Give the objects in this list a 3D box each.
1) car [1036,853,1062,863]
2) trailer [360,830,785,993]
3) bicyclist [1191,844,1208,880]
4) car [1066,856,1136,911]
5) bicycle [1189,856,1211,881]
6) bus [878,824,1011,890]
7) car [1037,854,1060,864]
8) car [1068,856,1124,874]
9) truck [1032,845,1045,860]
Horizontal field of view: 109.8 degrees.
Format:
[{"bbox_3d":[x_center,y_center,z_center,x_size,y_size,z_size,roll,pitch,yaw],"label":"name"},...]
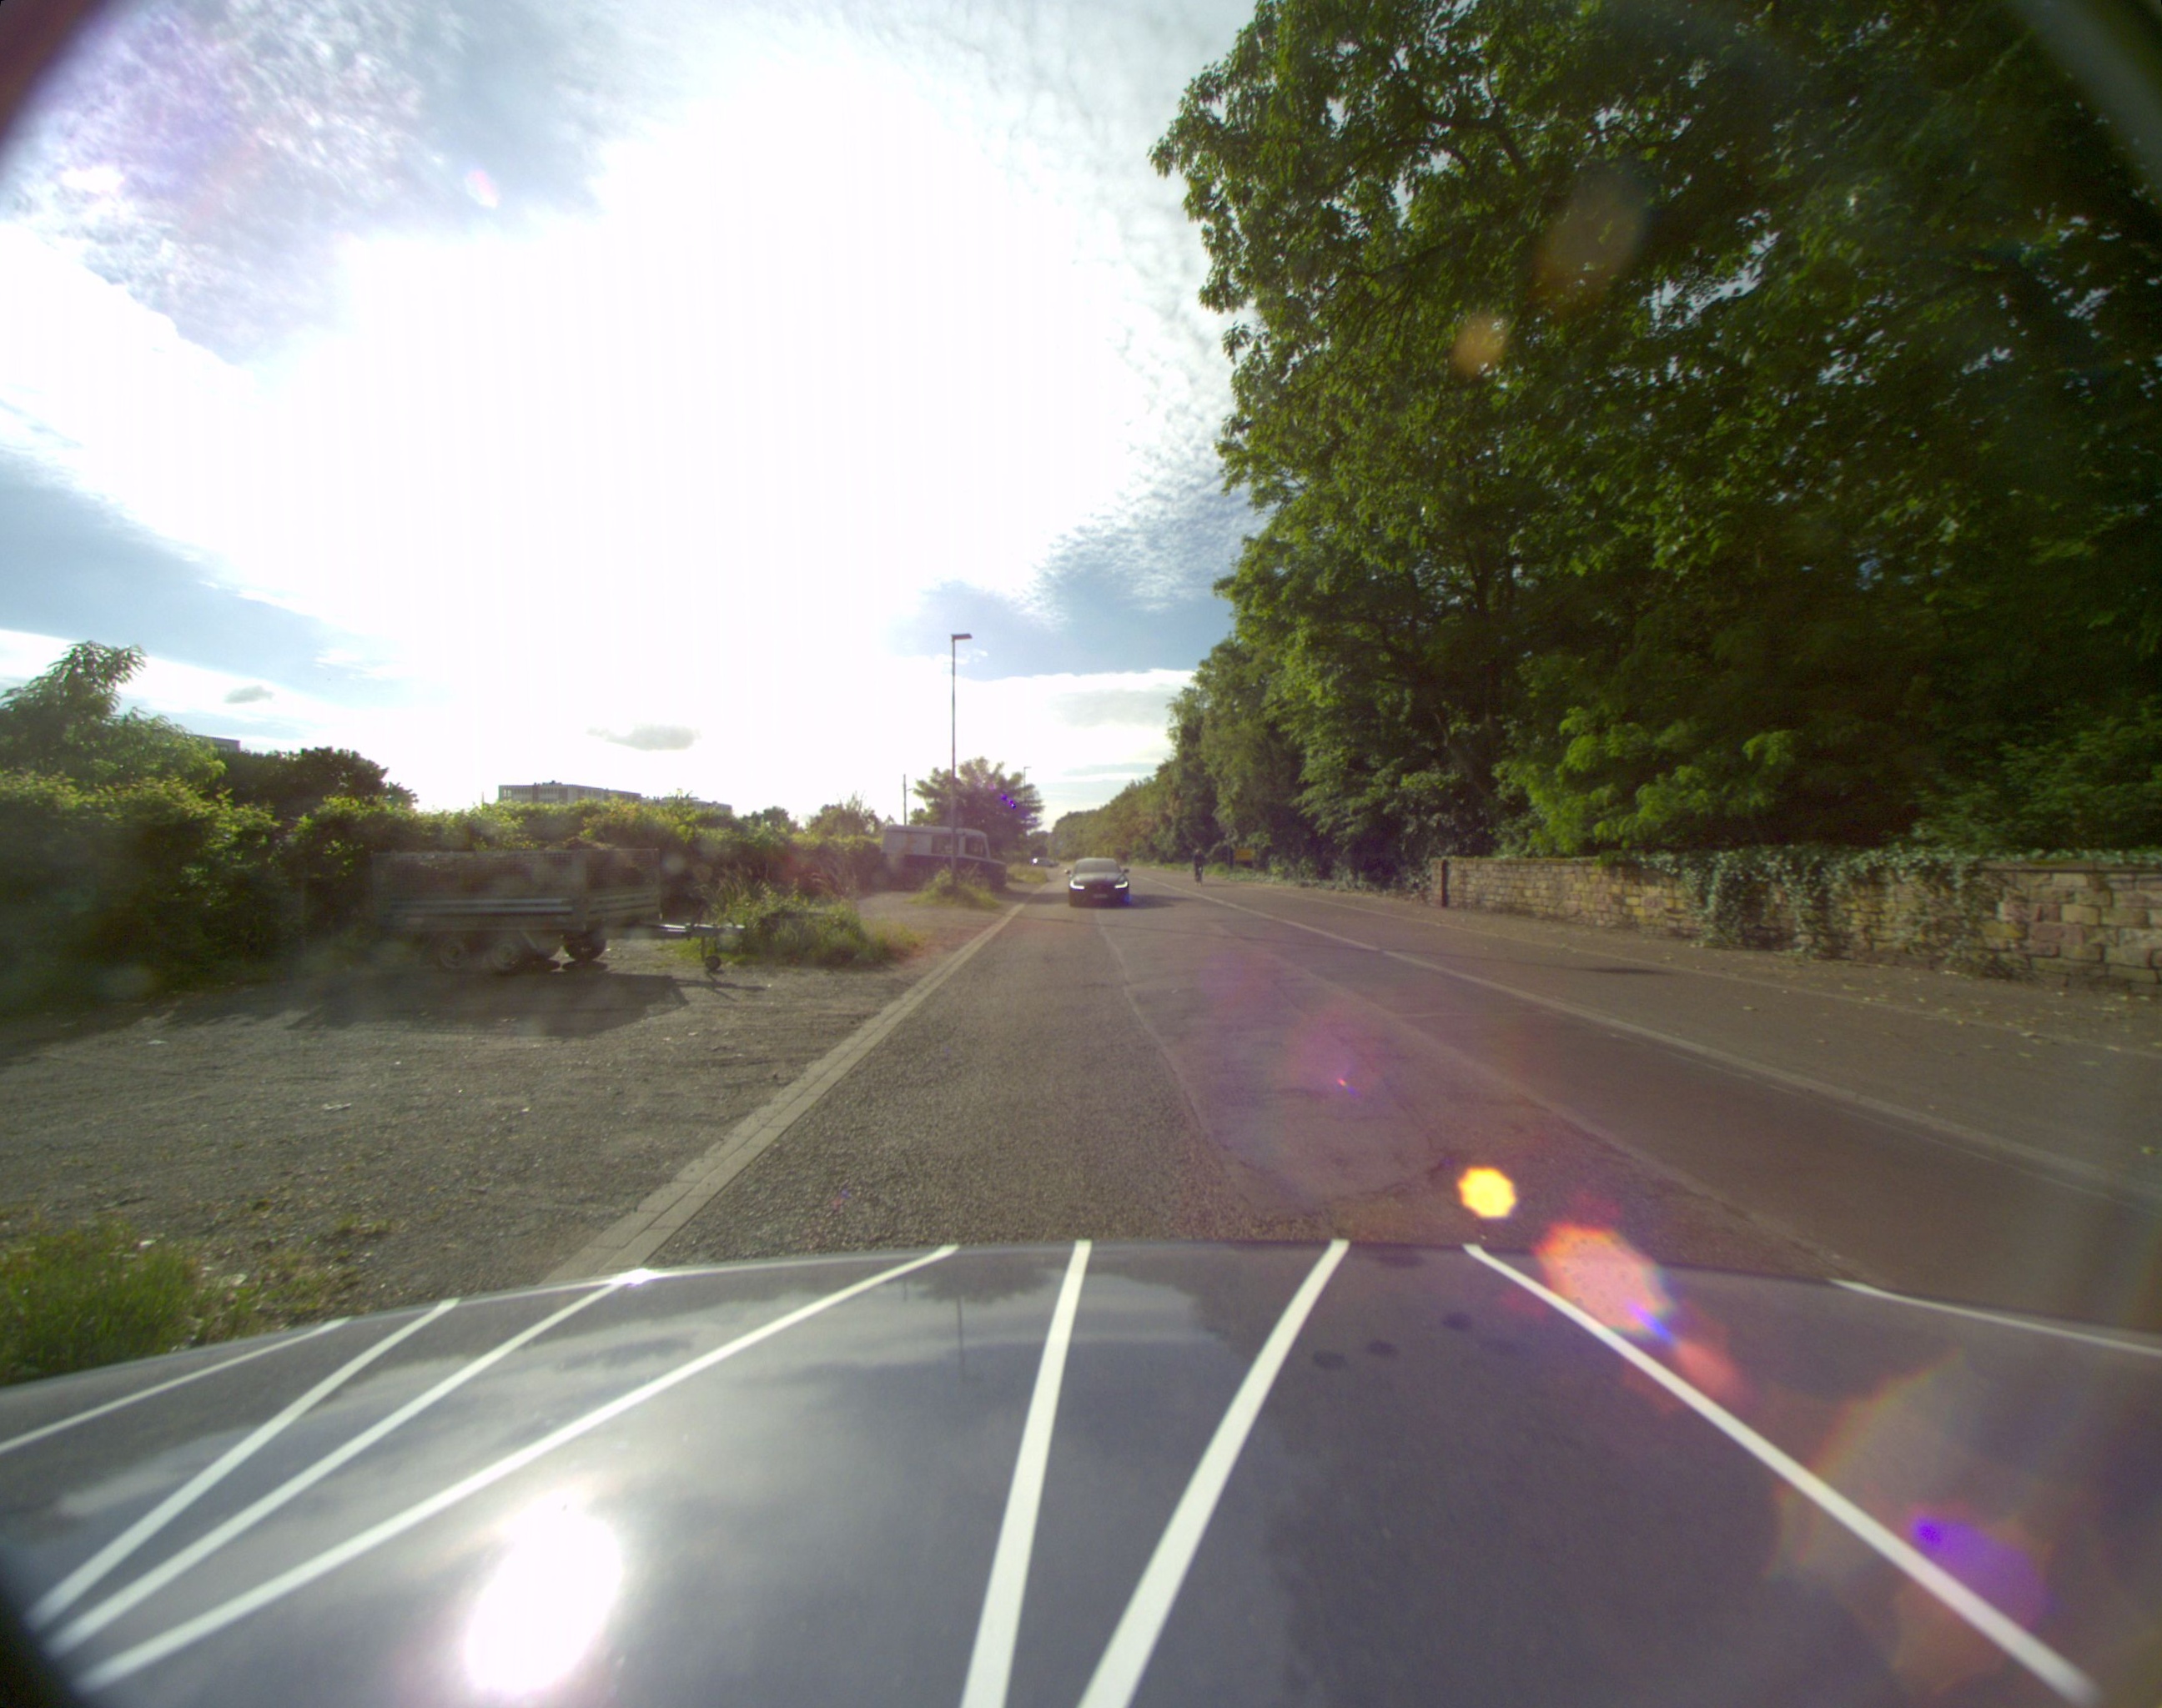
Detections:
[{"bbox_3d":[-5.875,0.762,138.377,4.599,1.689,1.763,0,1,0],"label":"car"},{"bbox_3d":[-6.223,0.642,9.656,4.161,1.824,1.917,0,1,4],"label":"trailer"},{"bbox_3d":[5.581,0.383,35.708,0.610,1.667,0.883,-2,0,0],"label":"bicyclist"},{"bbox_3d":[0.514,0.844,24.064,1.937,1.501,4.679,-1,0,-2],"label":"car"},{"bbox_3d":[5.587,0.684,35.706,0.664,1.091,2.348,-2,1,0],"label":"bicycle"},{"bbox_3d":[-5.738,0.143,32.569,5.380,2.730,2.068,0,0,-3],"label":"bus"},{"bbox_3d":[-5.460,0.865,127.665,3.867,1.481,1.692,2,-1,-2],"label":"car"},{"bbox_3d":[1.261,0.910,64.043,4.384,1.435,1.927,0,1,-35],"label":"car"},{"bbox_3d":[-11.631,-0.346,207.851,2.604,3.935,6.278,3,-1,-9],"label":"truck"}]
